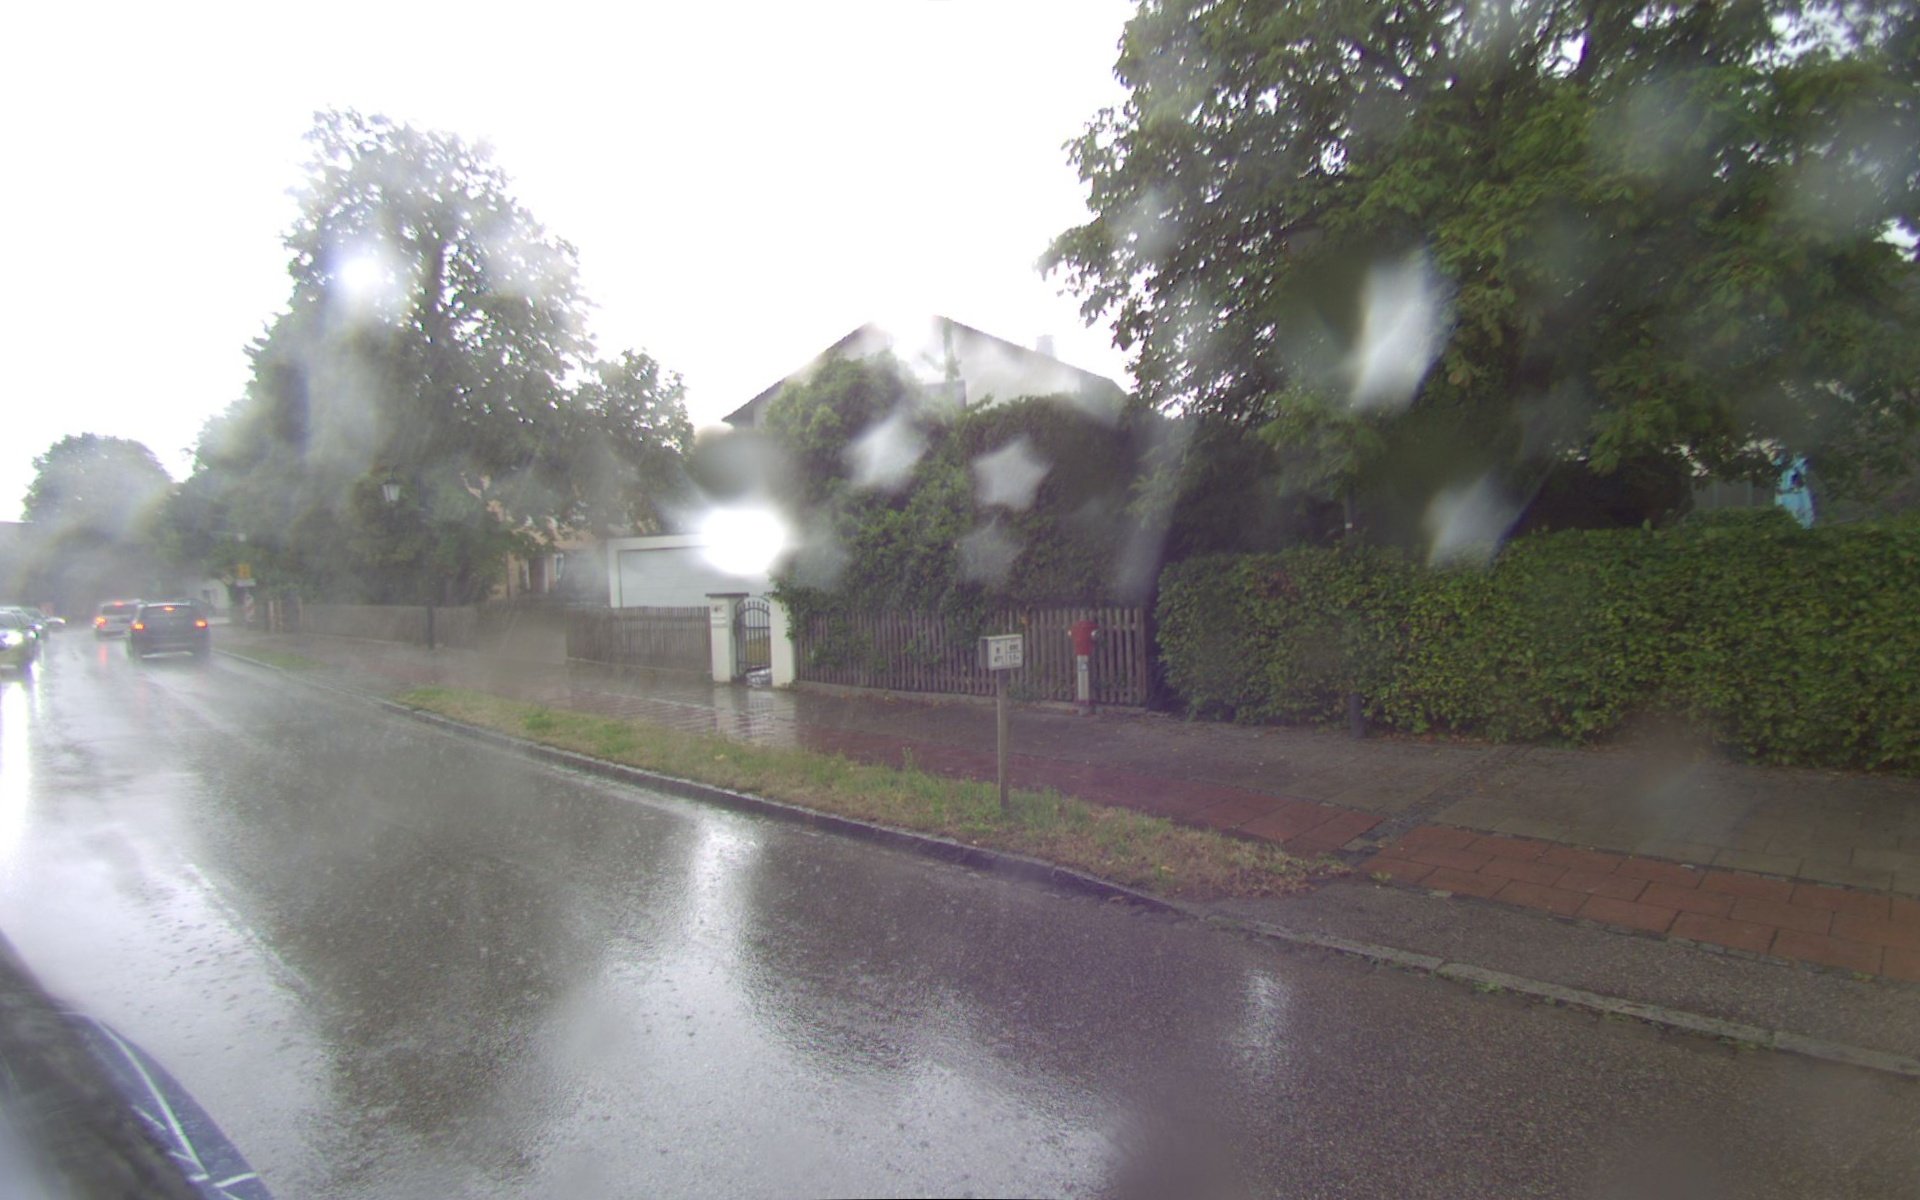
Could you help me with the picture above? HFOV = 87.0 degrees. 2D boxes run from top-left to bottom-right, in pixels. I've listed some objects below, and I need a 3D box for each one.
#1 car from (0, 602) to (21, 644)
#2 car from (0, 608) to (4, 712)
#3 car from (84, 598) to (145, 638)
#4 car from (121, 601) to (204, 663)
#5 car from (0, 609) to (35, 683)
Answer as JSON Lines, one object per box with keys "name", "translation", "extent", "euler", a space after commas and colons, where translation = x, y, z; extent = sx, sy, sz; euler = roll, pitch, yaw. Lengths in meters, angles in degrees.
{"name": "car", "translation": [-38.426, 0.917, 39.937], "extent": [1.845, 1.532, 4.967], "euler": [-4, 3, -42]}
{"name": "car", "translation": [-14.580, 0.896, 13.994], "extent": [1.845, 1.532, 4.193], "euler": [-2, 1, -42]}
{"name": "car", "translation": [-37.449, 0.774, 44.788], "extent": [1.733, 1.690, 4.002], "euler": [1, -1, -45]}
{"name": "car", "translation": [-22.255, 0.857, 28.208], "extent": [1.567, 1.622, 3.543], "euler": [0, -1, -42]}
{"name": "car", "translation": [-24.272, 1.122, 25.080], "extent": [1.845, 1.624, 4.967], "euler": [-4, 3, -42]}
